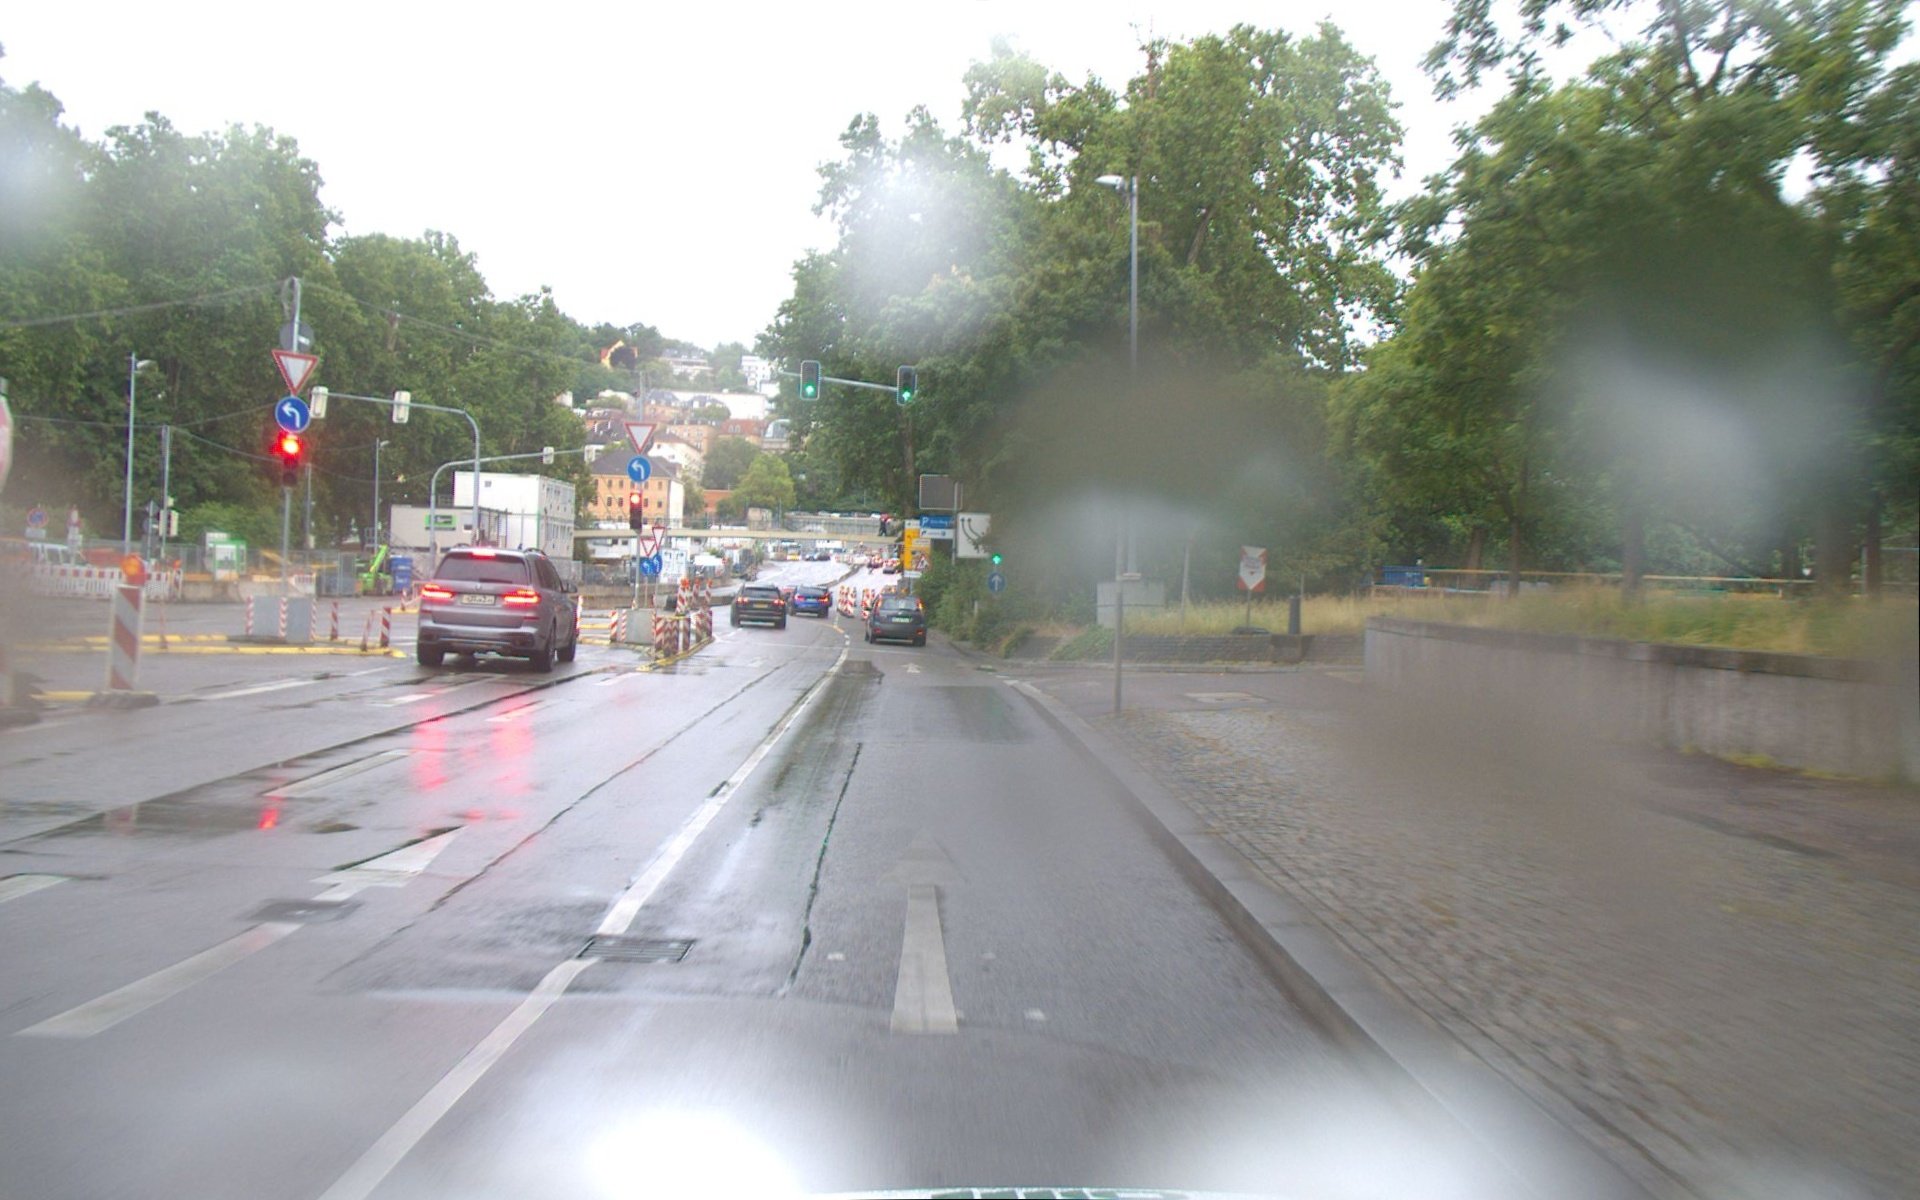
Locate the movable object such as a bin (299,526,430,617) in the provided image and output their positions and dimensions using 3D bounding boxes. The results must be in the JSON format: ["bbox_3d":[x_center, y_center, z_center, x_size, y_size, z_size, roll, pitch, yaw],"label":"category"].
[{"bbox_3d":[-33.867,-1.533,94.576,4.655,4.887,8.355,1,0,-3],"label":"movable object such as a bin"}]

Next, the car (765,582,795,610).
[{"bbox_3d":[-14.048,-0.298,129.094,2.010,2.049,3.998,1,0,-2],"label":"car"}]

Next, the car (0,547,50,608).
[{"bbox_3d":[-34.898,-0.789,59.285,1.955,2.137,5.575,-1,0,-6],"label":"car"}]

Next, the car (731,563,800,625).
[{"bbox_3d":[-6.778,-0.189,57.951,1.976,2.049,3.999,1,0,-1],"label":"car"}]

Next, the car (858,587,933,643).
[{"bbox_3d":[-1.927,0.426,48.272,1.778,1.553,3.992,1,0,-8],"label":"car"}]

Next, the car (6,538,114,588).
[{"bbox_3d":[-35.391,-1.426,65.200,1.808,1.792,4.794,1,0,-3],"label":"car"}]

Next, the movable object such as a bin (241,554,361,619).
[{"bbox_3d":[-33.958,-0.649,85.535,3.853,3.183,6.384,1,0,-3],"label":"movable object such as a bin"}]

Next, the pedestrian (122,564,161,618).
[{"bbox_3d":[-31.957,-0.343,64.592,1.163,2.049,1.166,3,0,-22],"label":"pedestrian"}]

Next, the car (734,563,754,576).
[{"bbox_3d":[-28.692,-4.074,219.716,1.952,1.650,4.002,2,2,3],"label":"car"}]

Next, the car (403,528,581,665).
[{"bbox_3d":[-7.338,-0.048,26.455,2.169,1.895,5.061,2,0,-10],"label":"car"}]

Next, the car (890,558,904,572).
[{"bbox_3d":[-9.215,-5.183,242.479,1.953,1.902,3.998,1,0,-2],"label":"car"}]

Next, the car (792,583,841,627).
[{"bbox_3d":[-6.973,0.246,80.490,2.062,2.086,3.999,1,0,-1],"label":"car"}]

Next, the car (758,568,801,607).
[{"bbox_3d":[-10.539,-0.738,96.746,1.952,2.048,4.003,0,4,2],"label":"car"}]
